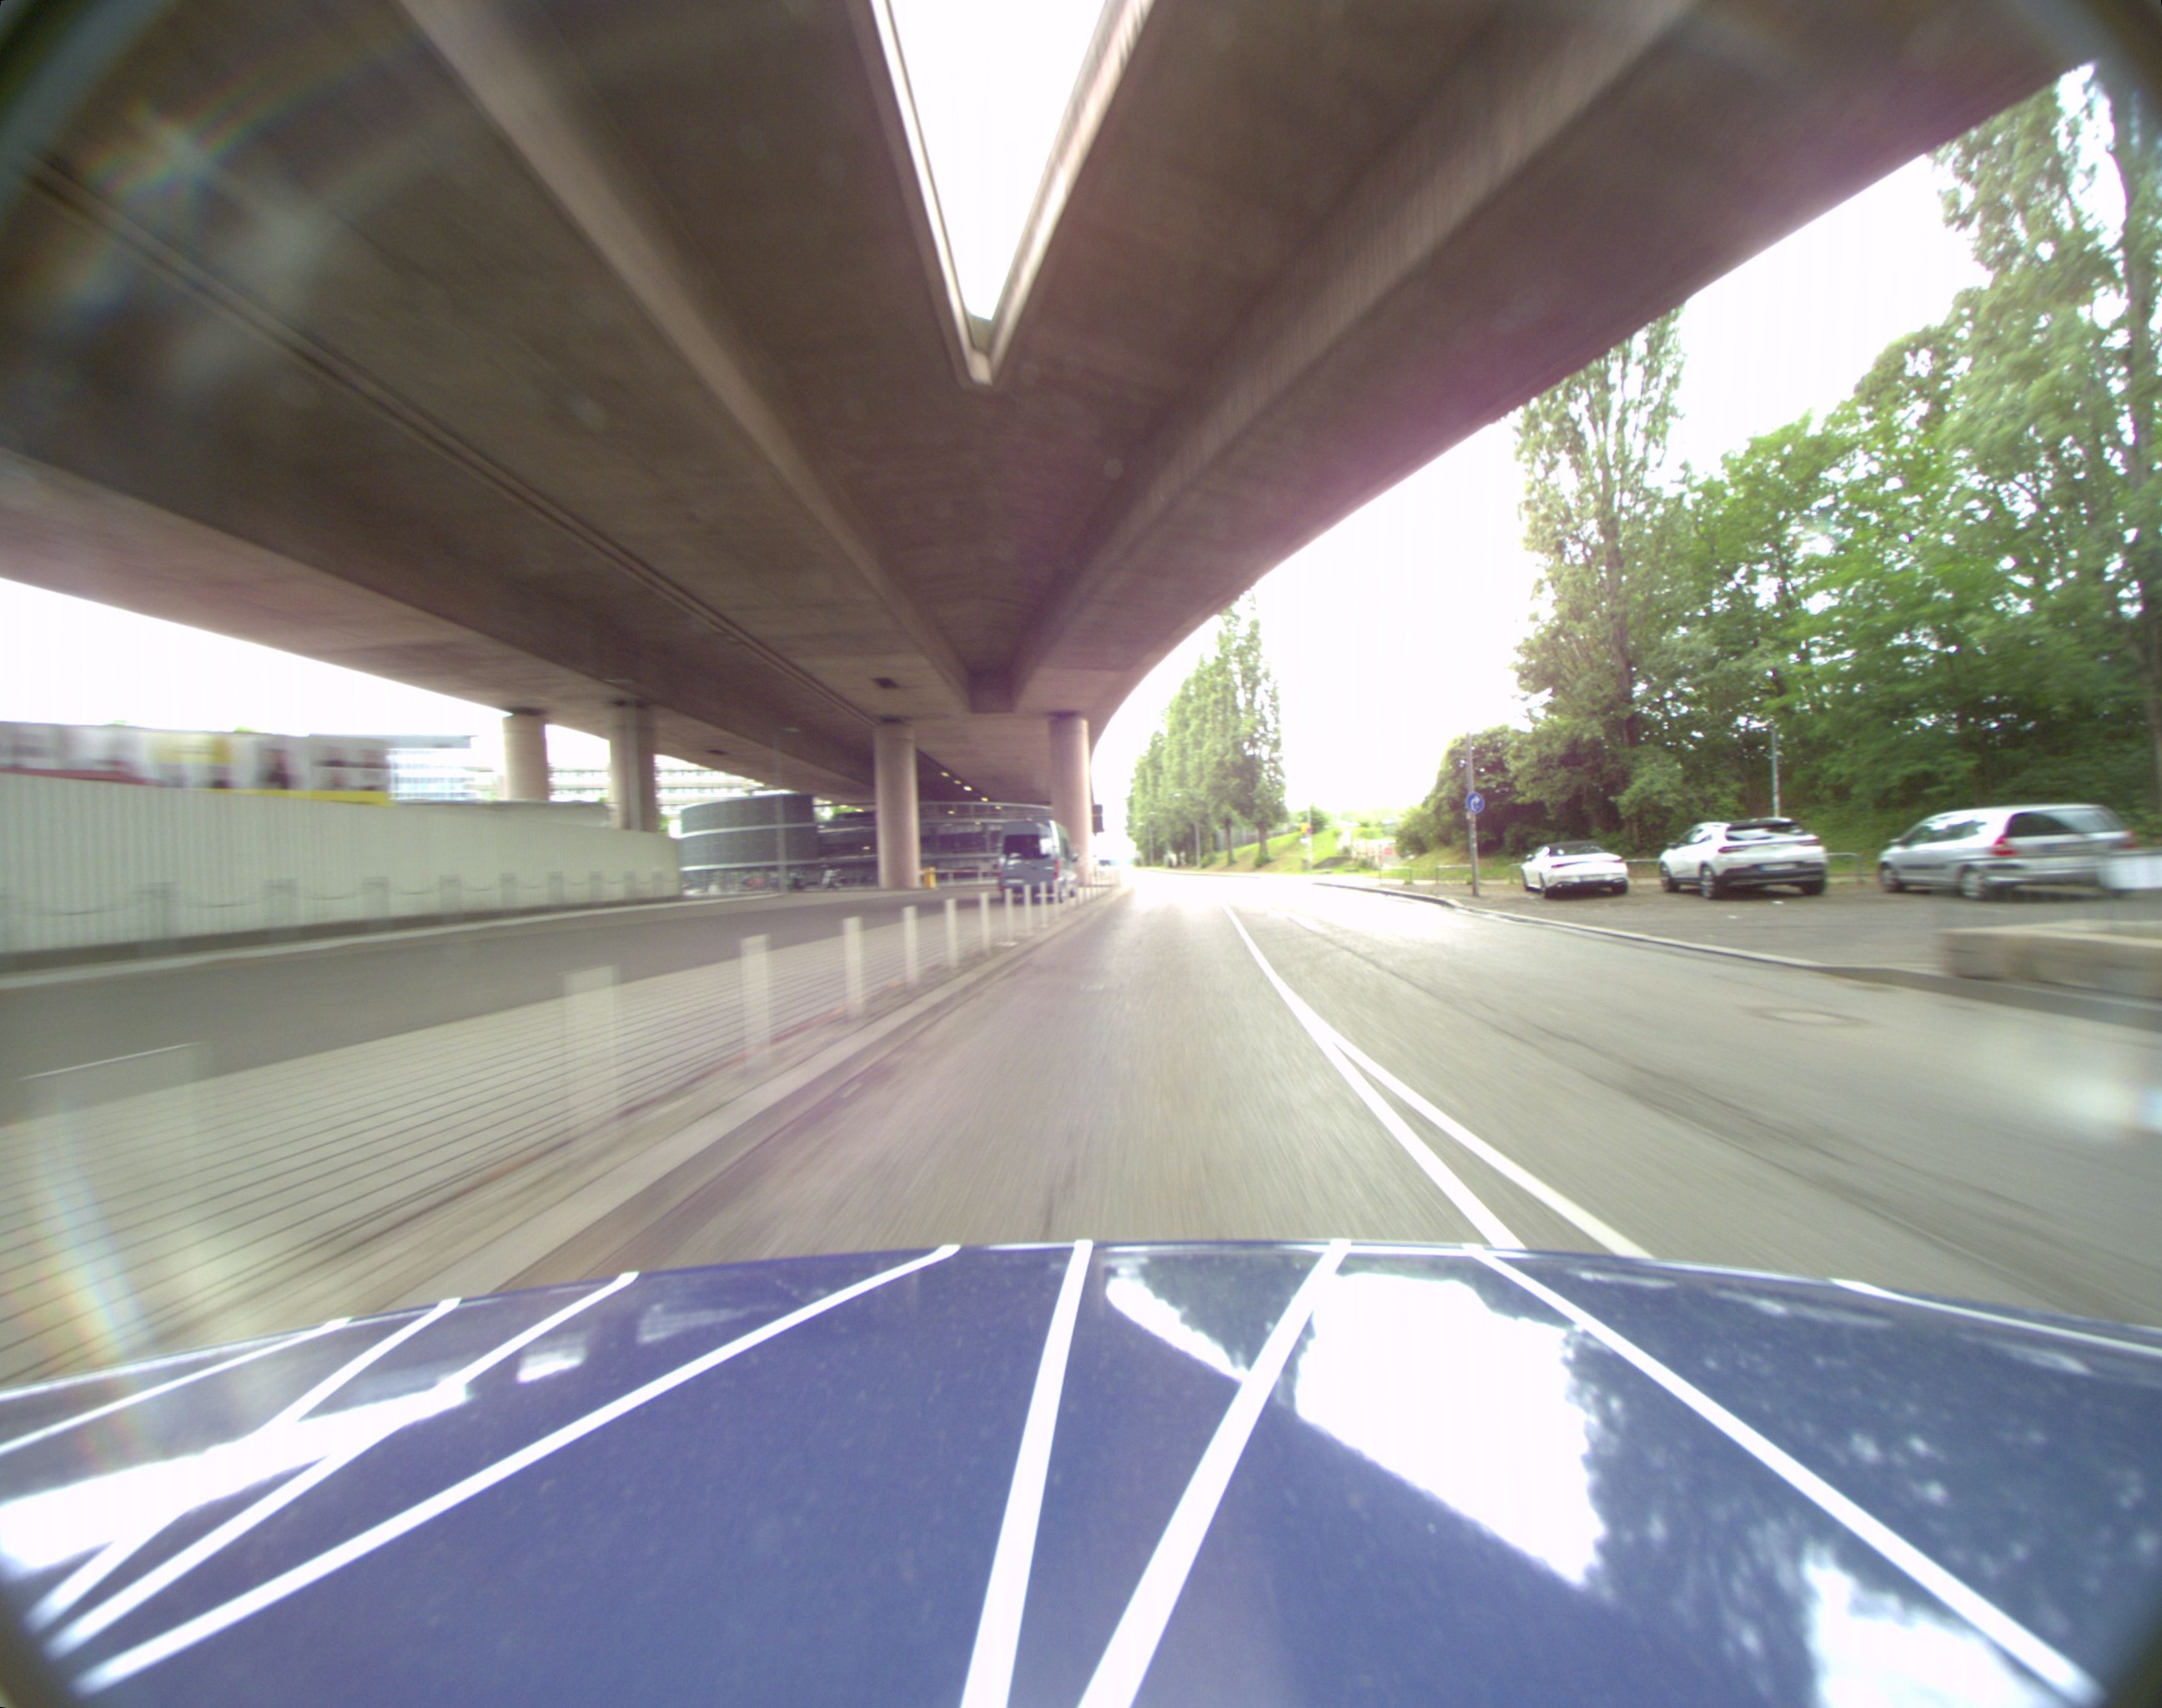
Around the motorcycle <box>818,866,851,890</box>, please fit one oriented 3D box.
[{"bbox_3d":[-13.147,1.268,40.613,0.784,1.227,2.538,-1,-2,5],"label":"motorcycle"}]

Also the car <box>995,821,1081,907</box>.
[{"bbox_3d":[-1.315,0.349,26.336,1.998,2.597,6.077,-1,0,6],"label":"car"}]

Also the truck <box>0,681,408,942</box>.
[{"bbox_3d":[-20.861,-0.774,15.913,3.139,4.895,9.746,-1,0,42],"label":"truck"}]

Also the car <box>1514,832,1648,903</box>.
[{"bbox_3d":[13.480,0.294,20.814,1.996,1.471,4.834,-6,0,22],"label":"car"}]

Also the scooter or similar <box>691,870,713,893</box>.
[{"bbox_3d":[-21.703,1.595,43.521,1.676,1.210,0.545,-6,-5,43],"label":"scooter or similar"}]

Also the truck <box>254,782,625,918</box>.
[{"bbox_3d":[-23.549,-0.137,28.714,3.004,4.278,10.319,-1,0,43],"label":"truck"}]

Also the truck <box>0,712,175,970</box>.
[{"bbox_3d":[-20.847,-0.168,10.755,2.890,4.158,10.087,-1,0,43],"label":"truck"}]

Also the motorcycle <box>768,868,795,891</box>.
[{"bbox_3d":[-16.038,1.381,40.765,0.573,1.098,2.331,-2,-4,-1],"label":"motorcycle"}]

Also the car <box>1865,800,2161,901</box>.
[{"bbox_3d":[15.702,-0.056,13.077,1.788,1.445,3.753,-3,0,25],"label":"car"}]

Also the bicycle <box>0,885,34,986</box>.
[{"bbox_3d":[-12.084,0.885,7.438,0.804,1.091,2.130,-1,0,-4],"label":"bicycle"}]

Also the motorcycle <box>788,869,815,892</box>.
[{"bbox_3d":[-14.941,1.439,40.657,0.544,1.098,2.331,-2,-4,1],"label":"motorcycle"}]

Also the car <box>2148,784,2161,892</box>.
[{"bbox_3d":[16.860,-0.254,9.720,1.858,1.681,4.170,-3,0,25],"label":"car"}]

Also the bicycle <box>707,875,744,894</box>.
[{"bbox_3d":[-20.960,1.811,44.823,2.060,1.017,0.396,-3,-1,6],"label":"bicycle"}]

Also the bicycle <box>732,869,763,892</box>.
[{"bbox_3d":[-18.257,1.471,41.558,2.324,1.098,0.622,-6,-5,40],"label":"bicycle"}]

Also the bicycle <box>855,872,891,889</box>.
[{"bbox_3d":[-12.314,1.563,44.985,2.019,0.920,0.419,-2,-1,-8],"label":"bicycle"}]

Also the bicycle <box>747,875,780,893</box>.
[{"bbox_3d":[-18.653,1.765,44.657,1.734,0.976,0.437,-2,-1,-1],"label":"bicycle"}]

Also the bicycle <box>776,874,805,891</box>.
[{"bbox_3d":[-20.340,2.006,53.207,1.788,1.072,0.436,-2,-1,-9],"label":"bicycle"}]

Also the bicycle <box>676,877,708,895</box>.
[{"bbox_3d":[-23.190,1.909,45.280,1.732,1.017,0.437,-3,-1,11],"label":"bicycle"}]

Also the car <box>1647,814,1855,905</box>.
[{"bbox_3d":[14.563,0.054,16.889,1.996,1.573,4.406,-7,0,22],"label":"car"}]
